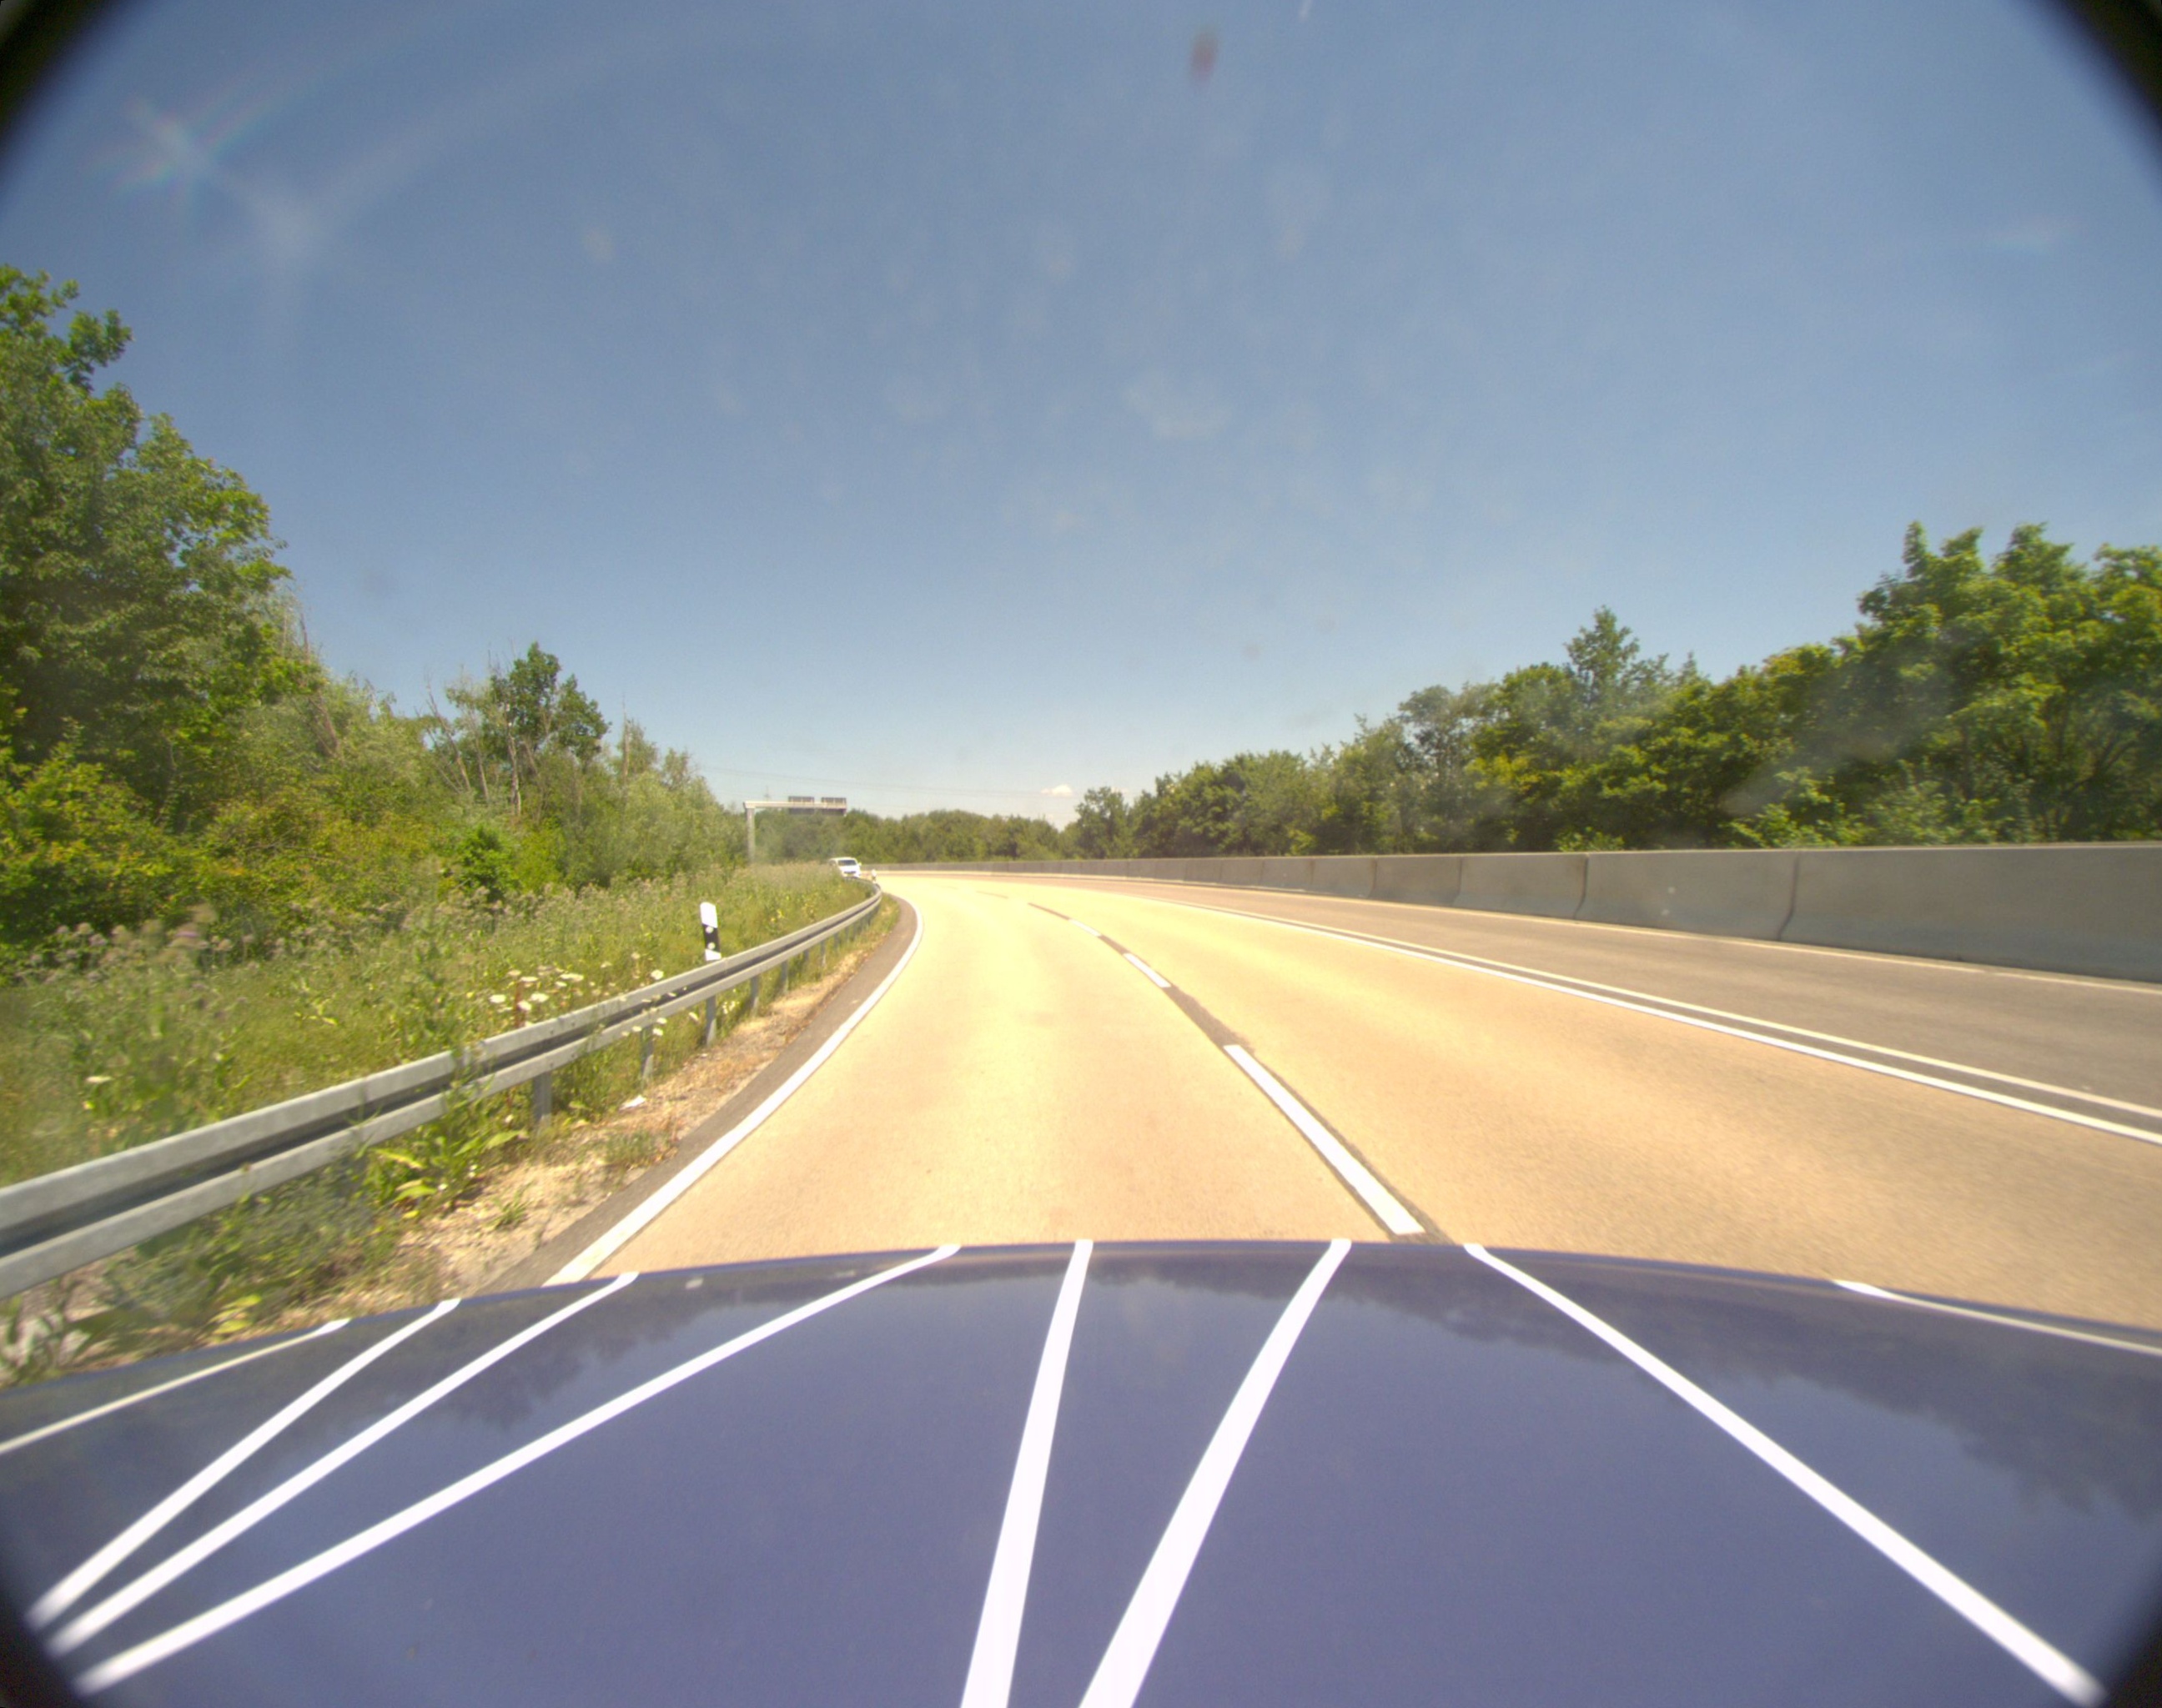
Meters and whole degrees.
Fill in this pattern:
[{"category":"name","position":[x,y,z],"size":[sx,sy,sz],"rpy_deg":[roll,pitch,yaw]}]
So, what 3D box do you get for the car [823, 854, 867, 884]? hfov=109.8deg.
[{"category":"car","position":[-20.077,1.240,64.478],"size":[2.035,2.074,5.855],"rpy_deg":[-3,4,-32]}]
